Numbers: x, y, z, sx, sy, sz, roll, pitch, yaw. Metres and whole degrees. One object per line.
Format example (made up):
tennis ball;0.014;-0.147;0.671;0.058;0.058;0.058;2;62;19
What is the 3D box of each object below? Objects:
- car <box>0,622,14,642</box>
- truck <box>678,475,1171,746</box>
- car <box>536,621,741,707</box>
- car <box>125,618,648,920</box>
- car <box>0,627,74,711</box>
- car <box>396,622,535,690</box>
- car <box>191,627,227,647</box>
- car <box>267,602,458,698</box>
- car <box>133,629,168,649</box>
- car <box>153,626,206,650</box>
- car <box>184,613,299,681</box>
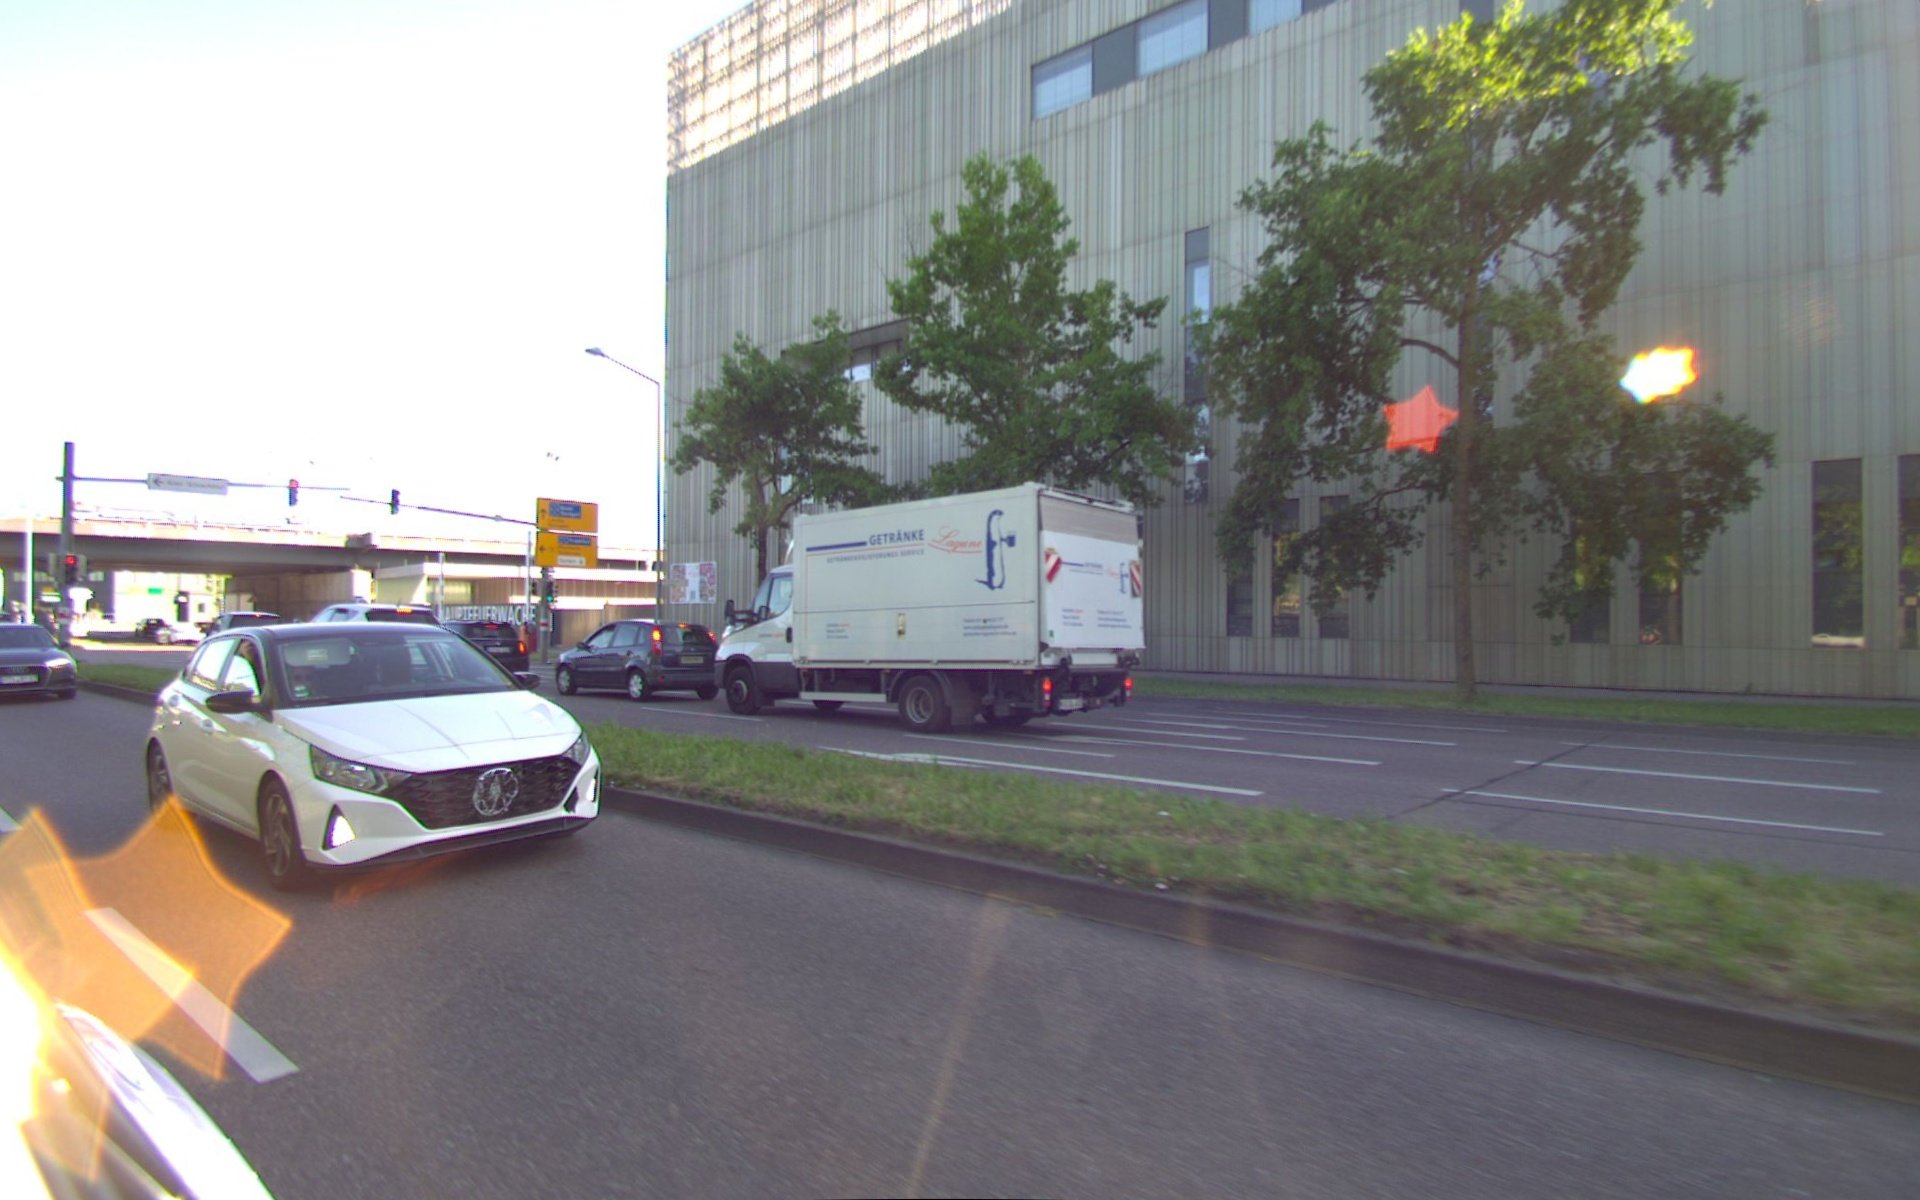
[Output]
car;-79.222;2.604;83.234;3.998;1.552;1.611;-1;-4;41
truck;-0.815;0.226;14.457;7.110;2.983;2.658;-1;-4;41
car;-6.100;1.157;19.019;3.997;1.435;1.816;-2;-3;40
car;-4.027;0.856;6.824;4.071;1.419;1.760;-1;-1;40
car;-17.852;1.207;18.627;4.361;1.415;1.680;-1;-2;40
car;-11.593;1.281;23.643;3.638;1.481;1.603;-2;-4;41
car;-53.480;2.628;72.070;1.473;1.422;3.940;2;-3;-45
car;-11.973;0.959;20.160;4.655;1.695;1.805;-1;-4;40
car;-64.614;3.089;80.726;3.424;1.544;1.551;-2;-2;41
car;-49.649;2.392;64.330;4.877;1.452;1.685;-1;-3;40
car;-17.872;1.146;25.147;3.211;1.592;1.585;-1;-3;41
